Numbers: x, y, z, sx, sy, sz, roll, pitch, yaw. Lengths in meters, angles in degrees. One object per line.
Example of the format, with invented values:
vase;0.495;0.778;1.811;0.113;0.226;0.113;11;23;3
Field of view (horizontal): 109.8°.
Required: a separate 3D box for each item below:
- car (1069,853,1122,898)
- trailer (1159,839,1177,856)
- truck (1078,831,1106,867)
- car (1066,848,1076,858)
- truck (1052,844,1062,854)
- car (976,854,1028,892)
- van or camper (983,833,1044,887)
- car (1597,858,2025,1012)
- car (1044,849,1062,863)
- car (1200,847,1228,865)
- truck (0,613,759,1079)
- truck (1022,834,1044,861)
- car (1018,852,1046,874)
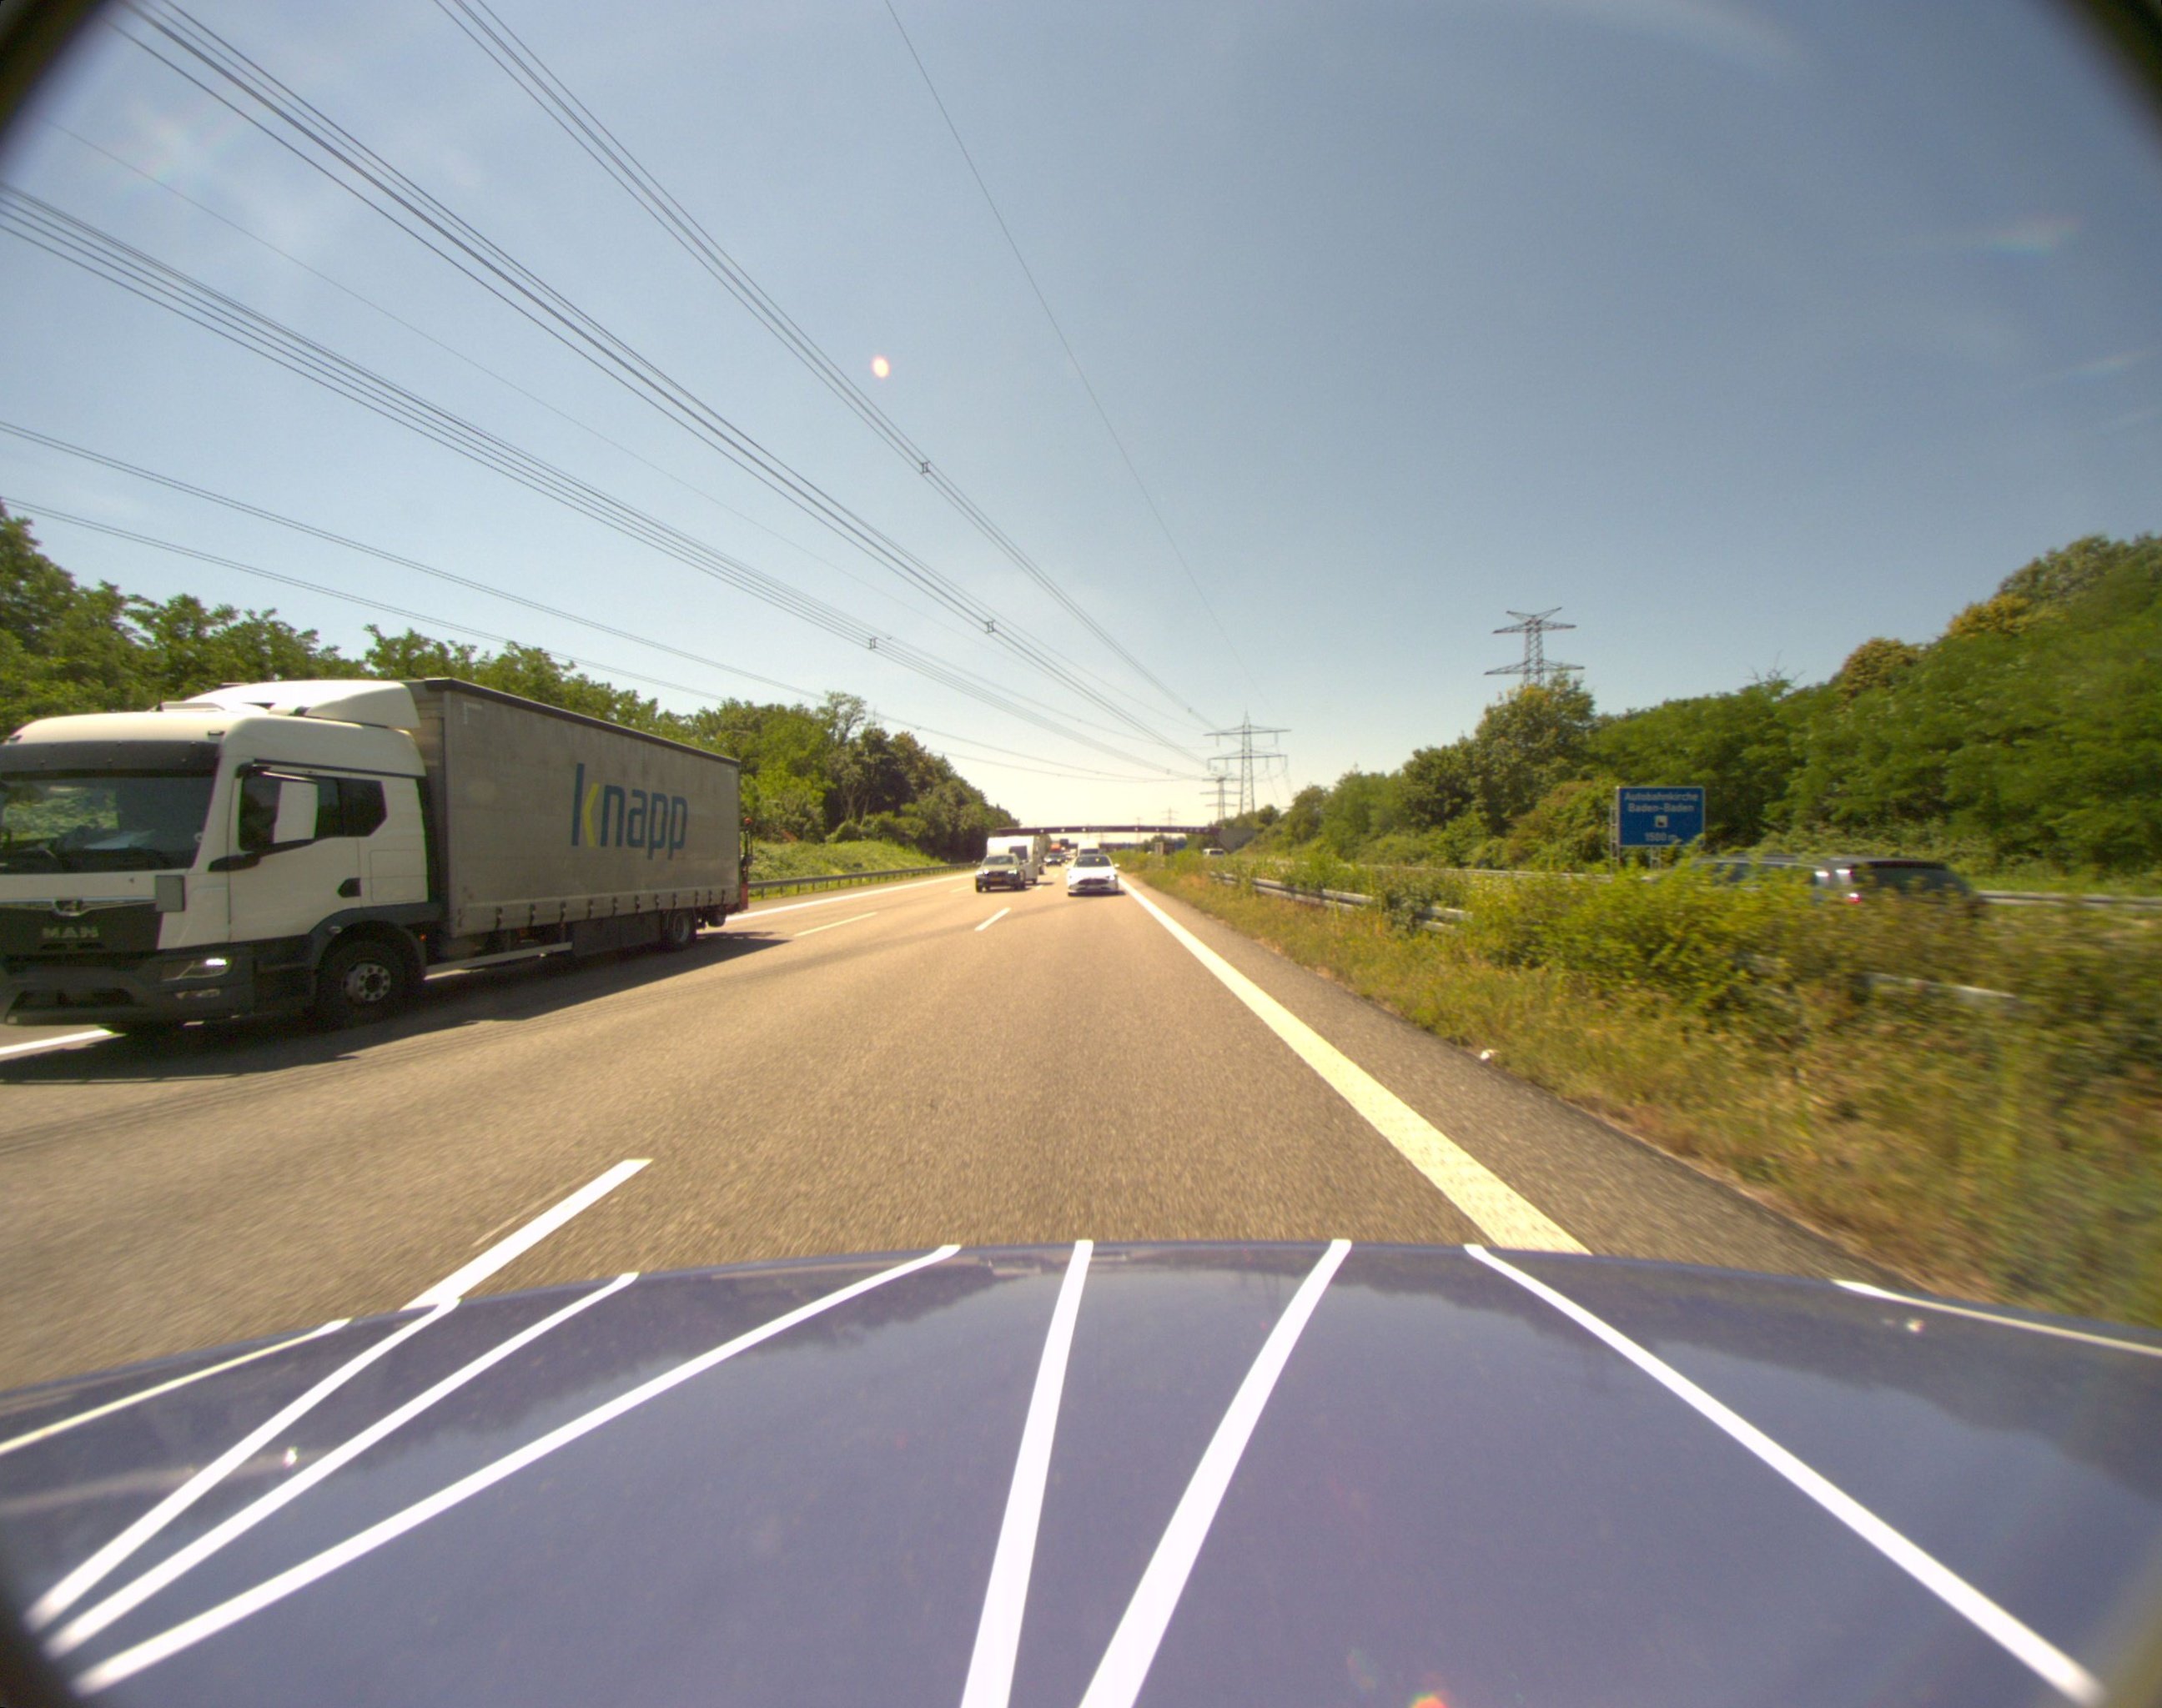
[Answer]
car;0.537;0.744;28.215;1.788;1.462;4.000;-2;1;1
trailer;19.500;-1.410;170.947;2.881;3.667;12.716;1;1;1
truck;0.925;-0.407;65.698;2.192;2.841;5.503;-3;0;1
car;-2.065;-0.200;159.876;1.998;2.002;4.000;0;0;1
truck;-6.640;-1.354;211.276;2.619;2.801;6.593;-1;0;1
car;-3.412;0.778;33.602;1.788;1.520;4.104;-2;0;1
van or camper;-3.327;0.255;38.872;2.411;2.483;6.432;-2;0;1
car;9.056;0.864;10.014;1.817;1.592;4.000;0;0;1
car;-3.486;0.290;95.393;1.904;1.662;4.000;-2;0;1
car;14.399;0.193;82.510;1.999;1.921;5.413;1;0;0
truck;-8.018;-0.078;11.234;1.987;3.750;10.042;-2;0;1
truck;-6.994;-0.998;111.827;2.584;3.704;8.279;-2;1;1
car;-3.652;0.659;57.070;1.803;1.533;3.806;0;0;1
